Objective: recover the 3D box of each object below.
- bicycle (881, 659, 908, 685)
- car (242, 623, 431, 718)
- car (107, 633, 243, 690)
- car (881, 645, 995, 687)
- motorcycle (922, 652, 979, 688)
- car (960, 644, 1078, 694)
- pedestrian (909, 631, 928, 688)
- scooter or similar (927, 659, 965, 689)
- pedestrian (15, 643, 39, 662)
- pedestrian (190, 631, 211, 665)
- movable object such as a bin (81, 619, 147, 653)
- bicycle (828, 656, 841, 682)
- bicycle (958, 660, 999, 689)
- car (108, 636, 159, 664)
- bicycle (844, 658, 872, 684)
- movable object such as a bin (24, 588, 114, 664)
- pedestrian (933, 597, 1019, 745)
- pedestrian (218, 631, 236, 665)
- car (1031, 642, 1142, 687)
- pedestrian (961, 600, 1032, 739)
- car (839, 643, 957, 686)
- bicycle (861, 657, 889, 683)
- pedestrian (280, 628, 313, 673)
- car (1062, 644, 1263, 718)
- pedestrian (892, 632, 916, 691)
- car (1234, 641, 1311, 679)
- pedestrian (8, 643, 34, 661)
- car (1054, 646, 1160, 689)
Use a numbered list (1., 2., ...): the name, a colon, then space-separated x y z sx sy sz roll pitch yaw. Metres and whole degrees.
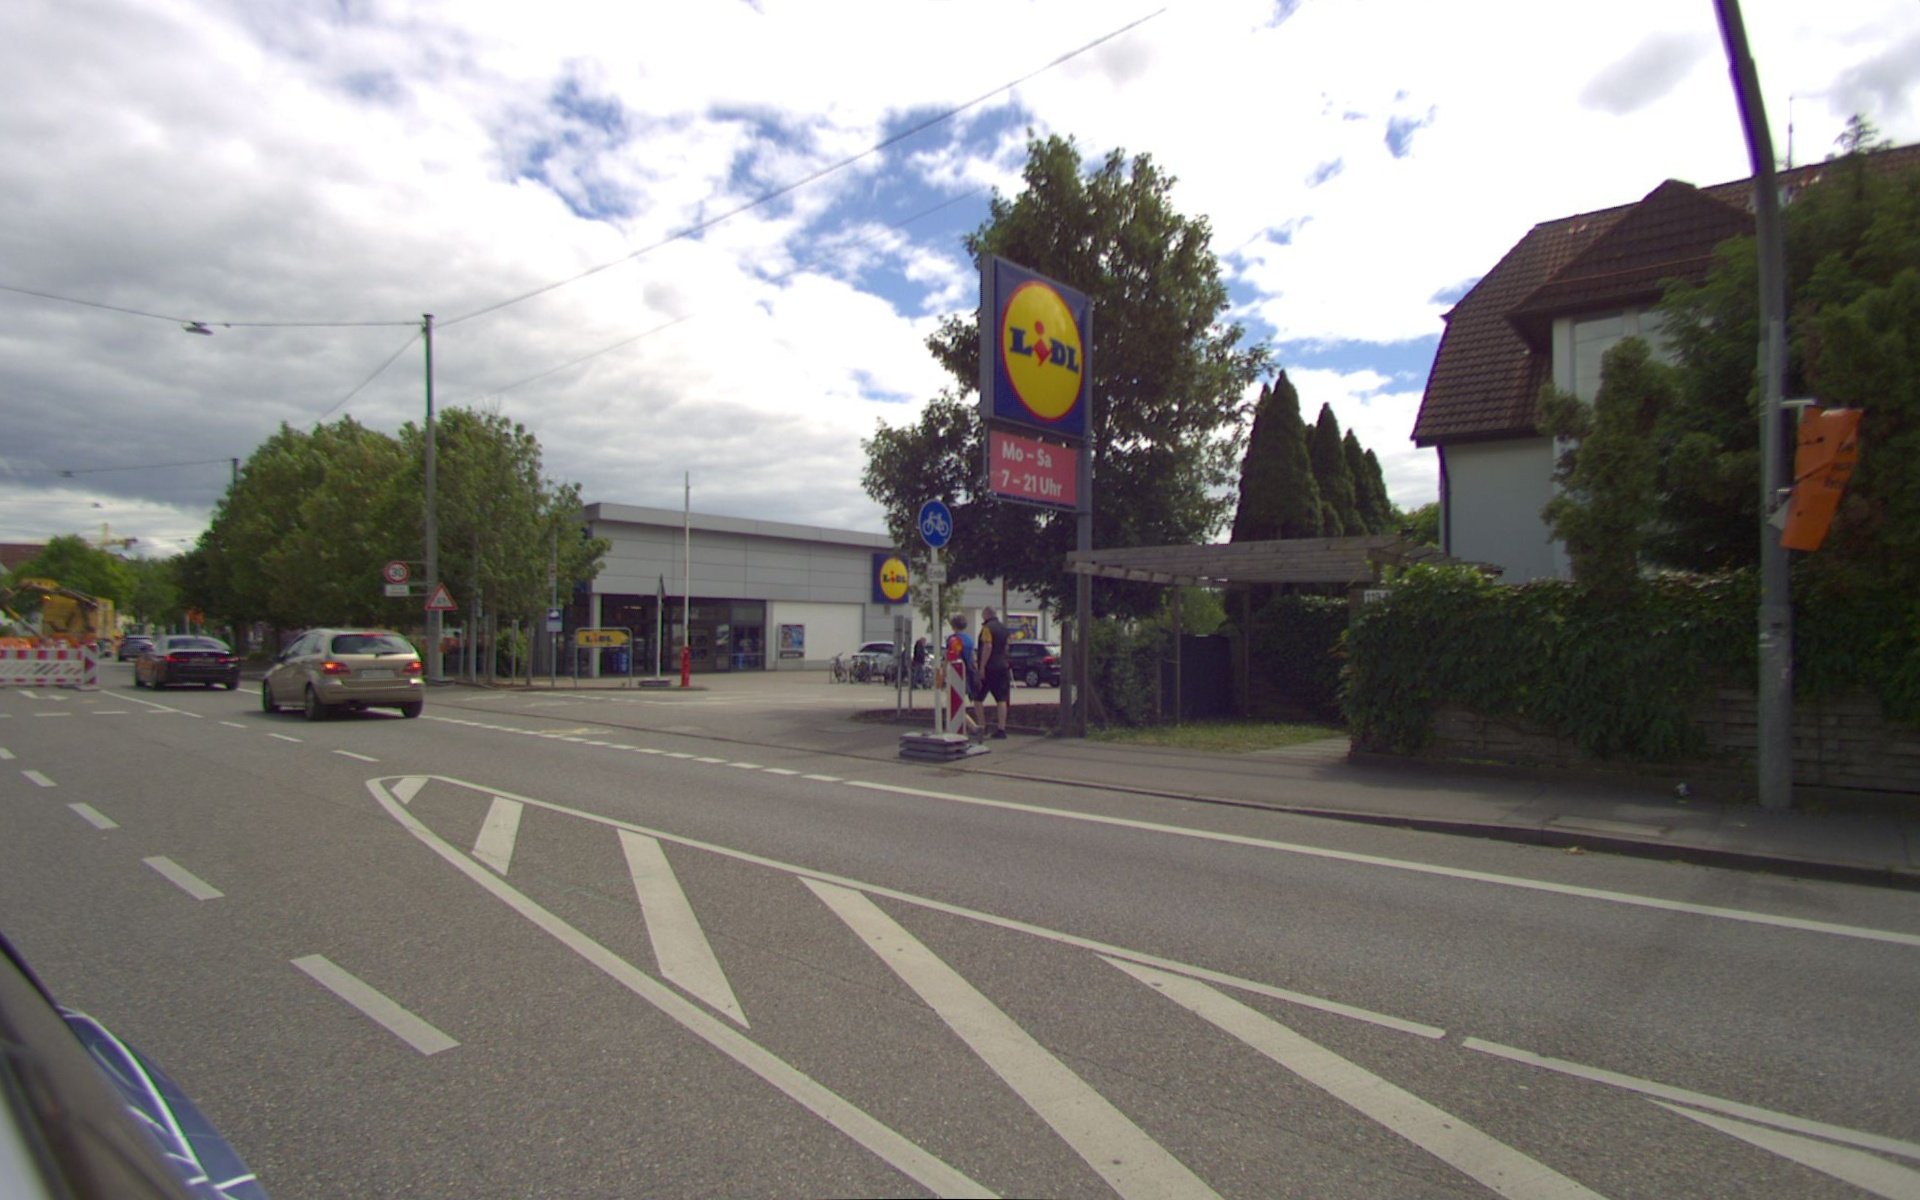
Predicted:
1. bicycle: -2.451 2.685 37.989 0.346 0.964 1.873 0 -3 19
2. car: -11.620 1.250 18.740 4.400 1.567 1.731 -2 -4 42
3. car: -21.352 1.646 27.456 4.809 1.410 1.972 -1 -5 41
4. car: -0.966 2.749 42.614 4.670 1.584 1.973 -1 -3 40
5. motorcycle: -0.339 2.422 35.037 1.926 1.202 0.862 1 -3 -4
6. car: 2.135 2.492 37.208 3.998 1.708 1.972 -2 -4 41
7. pedestrian: -1.369 1.954 33.468 0.604 1.873 0.422 1 -3 2
8. scooter or similar: -0.450 2.409 33.227 1.214 0.950 0.655 0 -3 5
9. pedestrian: -51.366 2.903 55.727 0.632 0.998 0.795 1 -3 -10
10. pedestrian: -41.656 2.622 55.507 0.685 1.861 0.624 2 -3 -20
11. movable object such as a bin: -69.381 3.006 83.165 1.965 2.646 6.543 2 -3 -20
12. bicycle: -4.844 2.677 39.194 0.344 0.964 1.885 1 -3 -2
13. bicycle: 0.631 2.504 34.220 1.631 0.964 0.314 3 -4 -43
14. car: -47.077 2.861 57.614 1.833 1.525 4.002 3 -4 -44
15. bicycle: -3.902 2.704 38.830 0.346 0.964 1.873 0 -3 19
16. movable object such as a bin: -54.531 1.712 62.192 2.556 4.254 11.149 3 -4 -34
17. pedestrian: 0.211 0.920 13.379 0.892 1.869 0.674 -1 -3 42
18. pedestrian: -40.344 2.632 55.713 0.616 1.861 0.624 2 -3 -20
19. car: 5.044 2.552 40.504 3.998 1.708 1.972 -2 -4 41
20. pedestrian: 0.512 0.951 14.093 0.706 1.869 0.674 -1 -3 41
21. car: -2.545 2.549 40.781 4.670 1.584 1.973 -1 -3 40
22. bicycle: -3.209 2.636 38.425 0.346 0.964 1.873 0 -3 19
23. pedestrian: -24.106 1.836 36.754 0.829 1.615 0.745 -2 -4 39
24. car: 4.506 1.763 22.794 3.998 1.464 1.972 -1 -4 41
25. pedestrian: -1.816 1.992 32.777 0.611 1.873 0.417 -2 -4 39
26. car: 21.369 4.068 69.312 4.696 2.413 1.973 -1 -3 40
27. pedestrian: -52.181 2.905 56.235 0.779 0.998 0.814 2 -3 -20
28. car: 6.175 2.823 42.715 3.998 1.708 1.972 -2 -4 41
